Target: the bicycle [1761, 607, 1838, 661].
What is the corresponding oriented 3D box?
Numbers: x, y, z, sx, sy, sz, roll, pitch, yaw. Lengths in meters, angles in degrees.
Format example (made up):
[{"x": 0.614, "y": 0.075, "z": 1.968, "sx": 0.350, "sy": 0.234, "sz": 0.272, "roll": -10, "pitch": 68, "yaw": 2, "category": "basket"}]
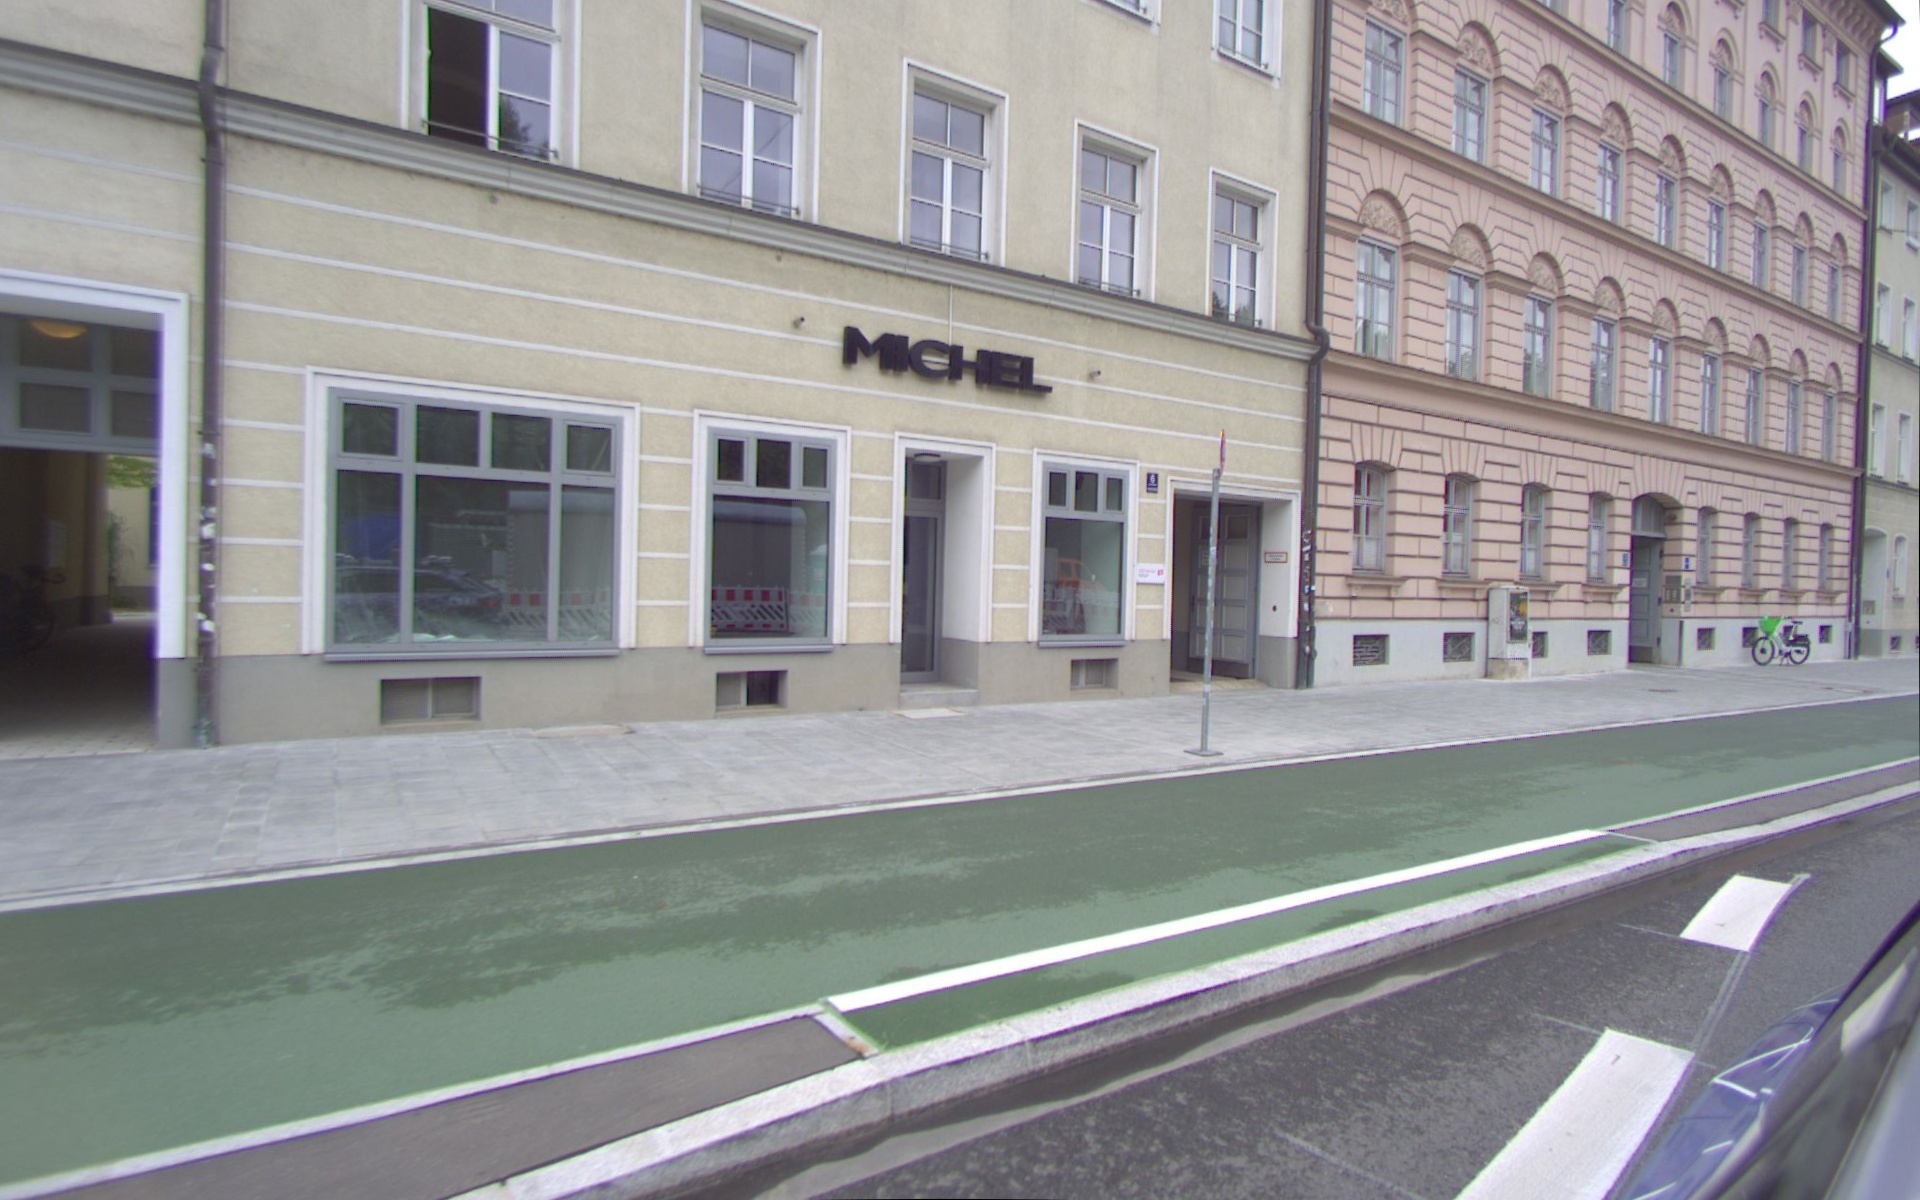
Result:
[{"x": 19.348, "y": 0.787, "z": 23.312, "sx": 1.695, "sy": 1.188, "sz": 0.428, "roll": 1, "pitch": 1, "yaw": -15, "category": "bicycle"}]
